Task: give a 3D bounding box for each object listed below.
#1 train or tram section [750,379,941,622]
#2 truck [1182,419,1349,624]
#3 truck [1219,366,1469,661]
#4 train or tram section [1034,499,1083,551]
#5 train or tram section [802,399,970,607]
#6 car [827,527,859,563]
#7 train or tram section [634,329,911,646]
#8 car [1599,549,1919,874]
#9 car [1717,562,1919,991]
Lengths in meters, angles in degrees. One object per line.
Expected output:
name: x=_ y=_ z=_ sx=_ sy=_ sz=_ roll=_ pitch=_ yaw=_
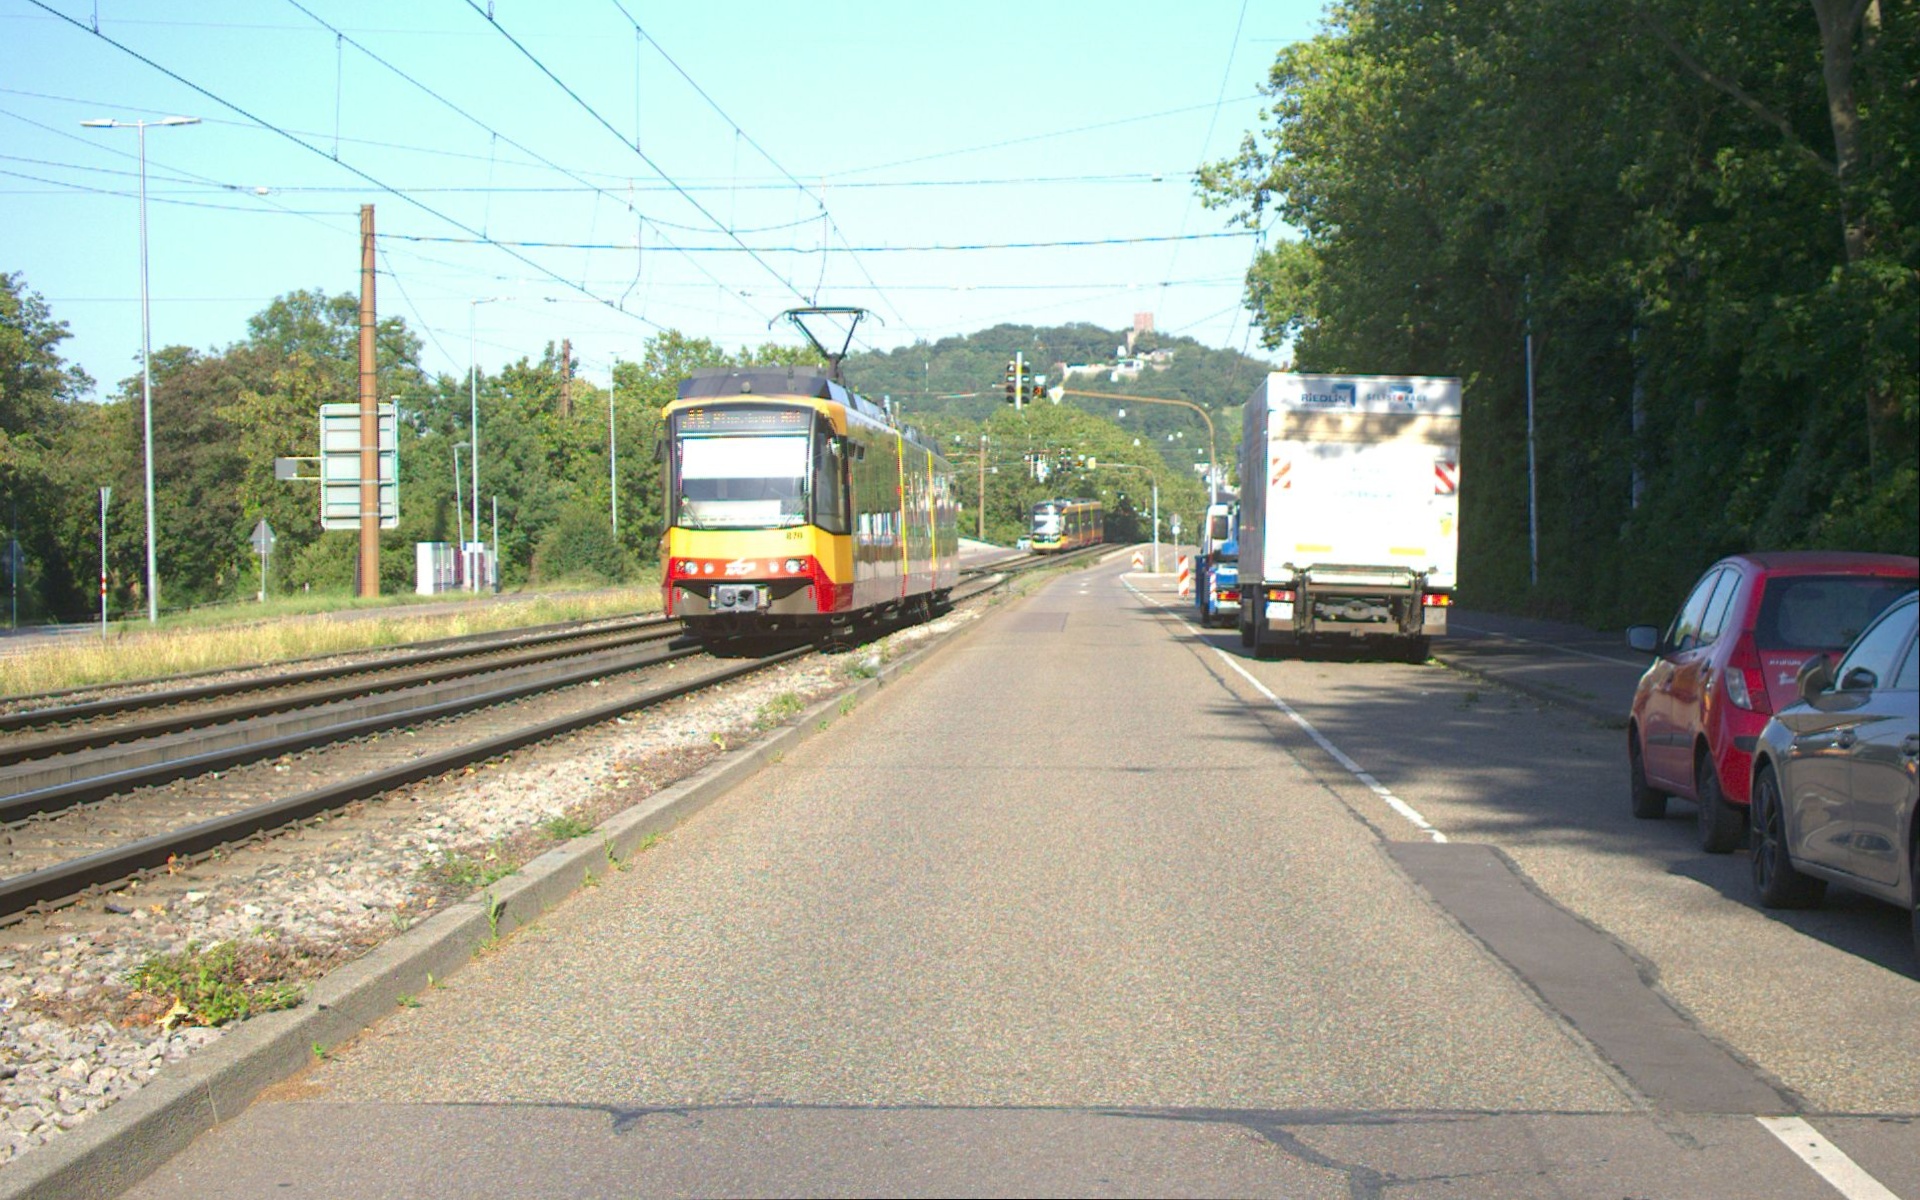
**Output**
train or tram section: x=-1.975 y=-1.770 z=63.375 sx=2.695 sy=4.075 sz=9.910 roll=-1 pitch=1 yaw=3
truck: x=6.027 y=-1.544 z=69.169 sx=2.717 sy=3.770 sz=9.761 roll=2 pitch=1 yaw=2
truck: x=5.395 y=-1.214 z=49.956 sx=2.742 sy=3.770 sz=10.089 roll=2 pitch=1 yaw=2
train or tram section: x=6.984 y=-5.299 z=242.951 sx=2.644 sy=3.554 sz=10.830 roll=0 pitch=1 yaw=6
train or tram section: x=-1.453 y=-2.039 z=74.736 sx=2.720 sy=4.075 sz=12.812 roll=-1 pitch=1 yaw=3
car: x=-6.766 y=-3.176 z=198.958 sx=1.724 sy=2.007 sz=4.000 roll=1 pitch=0 yaw=-1
train or tram section: x=-2.541 y=-1.580 z=51.603 sx=2.721 sy=4.077 sz=13.614 roll=-1 pitch=1 yaw=3
car: x=4.558 y=0.530 z=18.516 sx=1.640 sy=1.531 sz=3.640 roll=3 pitch=1 yaw=2
car: x=4.234 y=0.617 z=13.089 sx=1.809 sy=1.452 sz=4.166 roll=2 pitch=1 yaw=1
